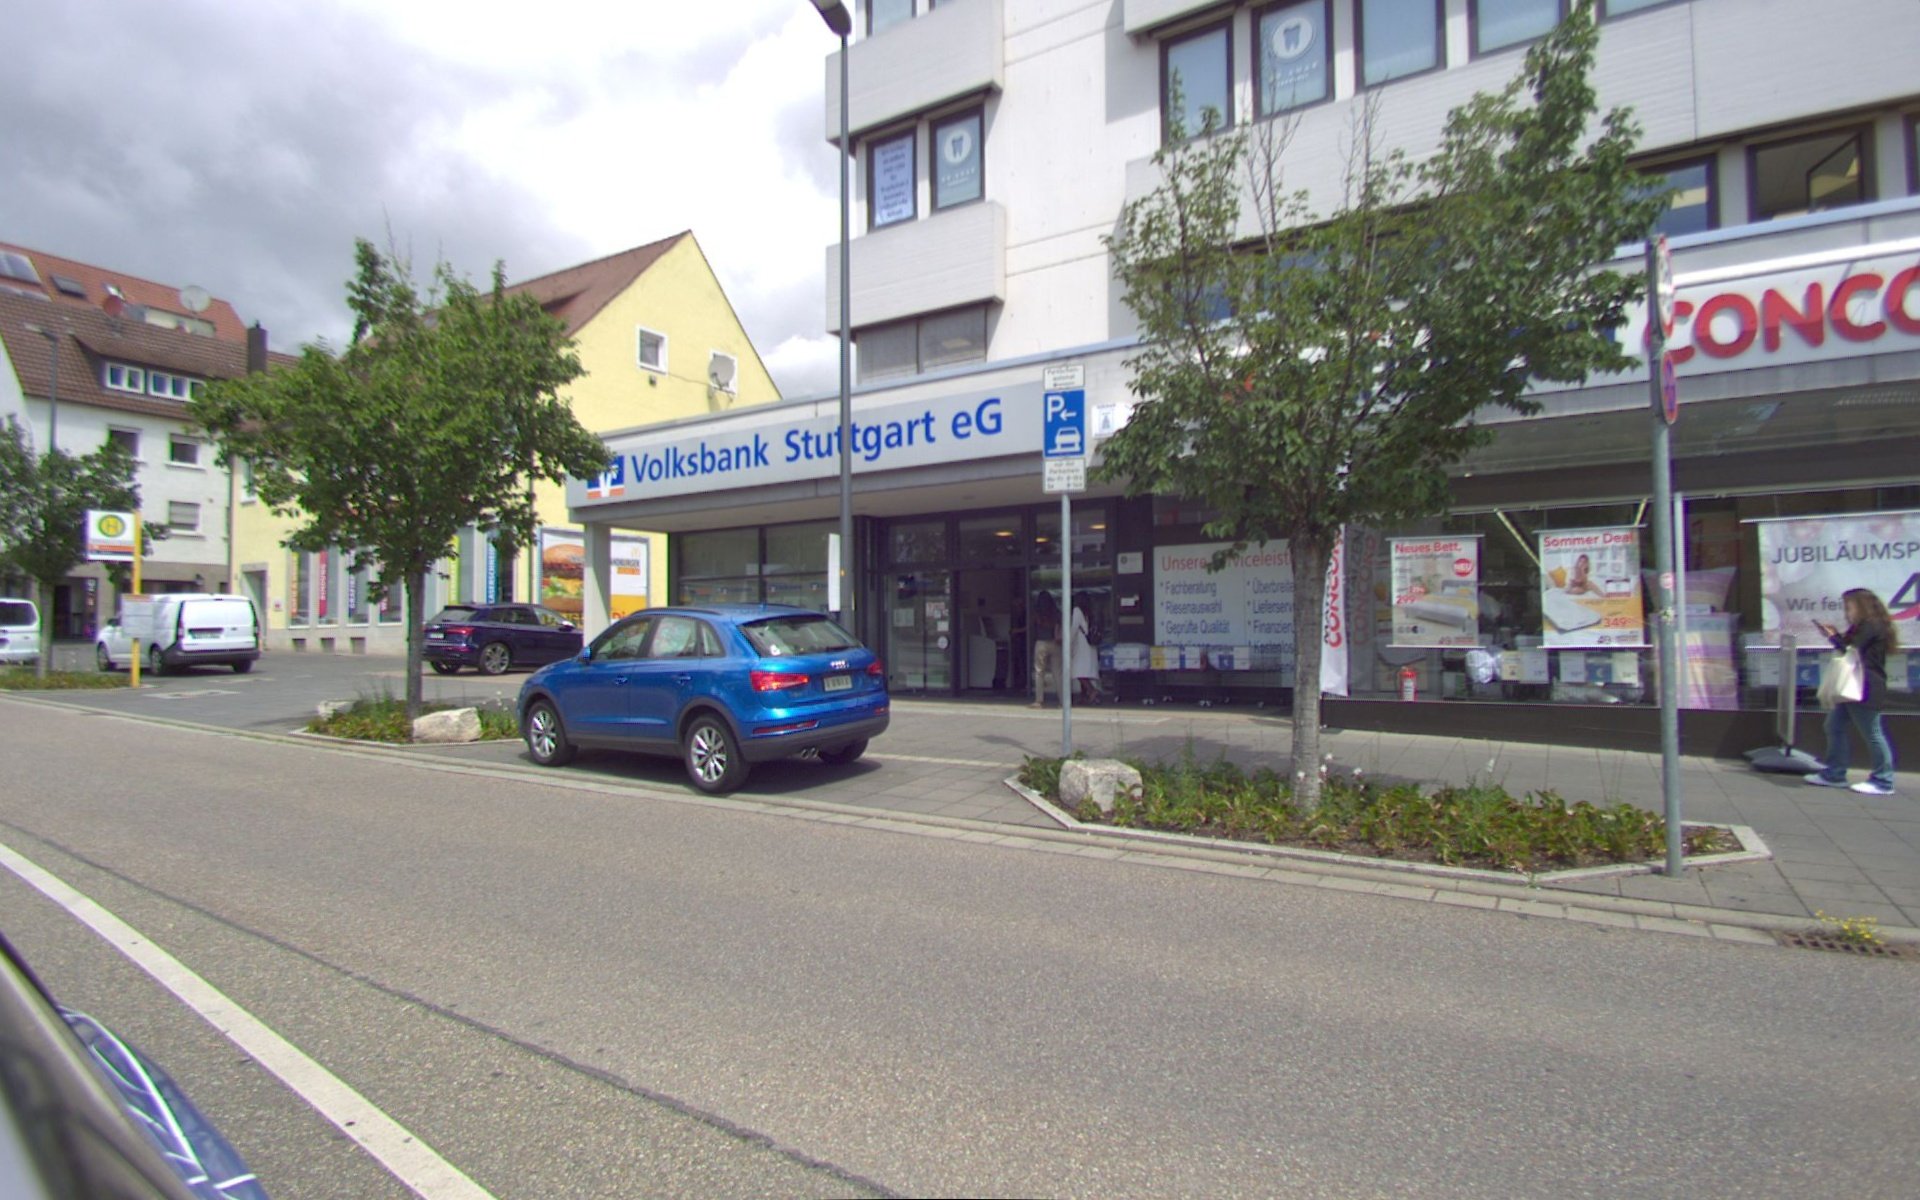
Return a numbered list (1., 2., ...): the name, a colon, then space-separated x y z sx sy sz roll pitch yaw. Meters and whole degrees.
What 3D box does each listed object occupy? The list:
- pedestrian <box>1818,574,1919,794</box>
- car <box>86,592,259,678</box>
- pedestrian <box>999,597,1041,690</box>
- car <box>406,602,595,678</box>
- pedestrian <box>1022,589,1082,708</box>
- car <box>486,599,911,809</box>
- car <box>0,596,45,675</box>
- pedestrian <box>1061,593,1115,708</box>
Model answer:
1. pedestrian: 7.001 0.614 7.728 0.637 1.600 0.581 0 -1 37
2. car: -18.307 0.743 23.482 4.461 1.827 1.743 0 0 32
3. pedestrian: 1.144 0.831 19.211 0.583 1.718 0.640 -2 -4 24
4. car: -10.308 0.852 22.915 1.663 1.570 3.600 0 -1 32
5. pedestrian: 1.265 0.659 13.851 0.641 1.578 0.581 0 -3 26
6. car: -2.696 0.829 9.939 4.323 1.611 1.679 0 1 36
7. car: -22.426 0.767 22.683 4.334 1.684 1.645 0 0 30
8. pedestrian: 1.804 0.700 14.254 0.585 1.578 0.505 -1 -3 34
